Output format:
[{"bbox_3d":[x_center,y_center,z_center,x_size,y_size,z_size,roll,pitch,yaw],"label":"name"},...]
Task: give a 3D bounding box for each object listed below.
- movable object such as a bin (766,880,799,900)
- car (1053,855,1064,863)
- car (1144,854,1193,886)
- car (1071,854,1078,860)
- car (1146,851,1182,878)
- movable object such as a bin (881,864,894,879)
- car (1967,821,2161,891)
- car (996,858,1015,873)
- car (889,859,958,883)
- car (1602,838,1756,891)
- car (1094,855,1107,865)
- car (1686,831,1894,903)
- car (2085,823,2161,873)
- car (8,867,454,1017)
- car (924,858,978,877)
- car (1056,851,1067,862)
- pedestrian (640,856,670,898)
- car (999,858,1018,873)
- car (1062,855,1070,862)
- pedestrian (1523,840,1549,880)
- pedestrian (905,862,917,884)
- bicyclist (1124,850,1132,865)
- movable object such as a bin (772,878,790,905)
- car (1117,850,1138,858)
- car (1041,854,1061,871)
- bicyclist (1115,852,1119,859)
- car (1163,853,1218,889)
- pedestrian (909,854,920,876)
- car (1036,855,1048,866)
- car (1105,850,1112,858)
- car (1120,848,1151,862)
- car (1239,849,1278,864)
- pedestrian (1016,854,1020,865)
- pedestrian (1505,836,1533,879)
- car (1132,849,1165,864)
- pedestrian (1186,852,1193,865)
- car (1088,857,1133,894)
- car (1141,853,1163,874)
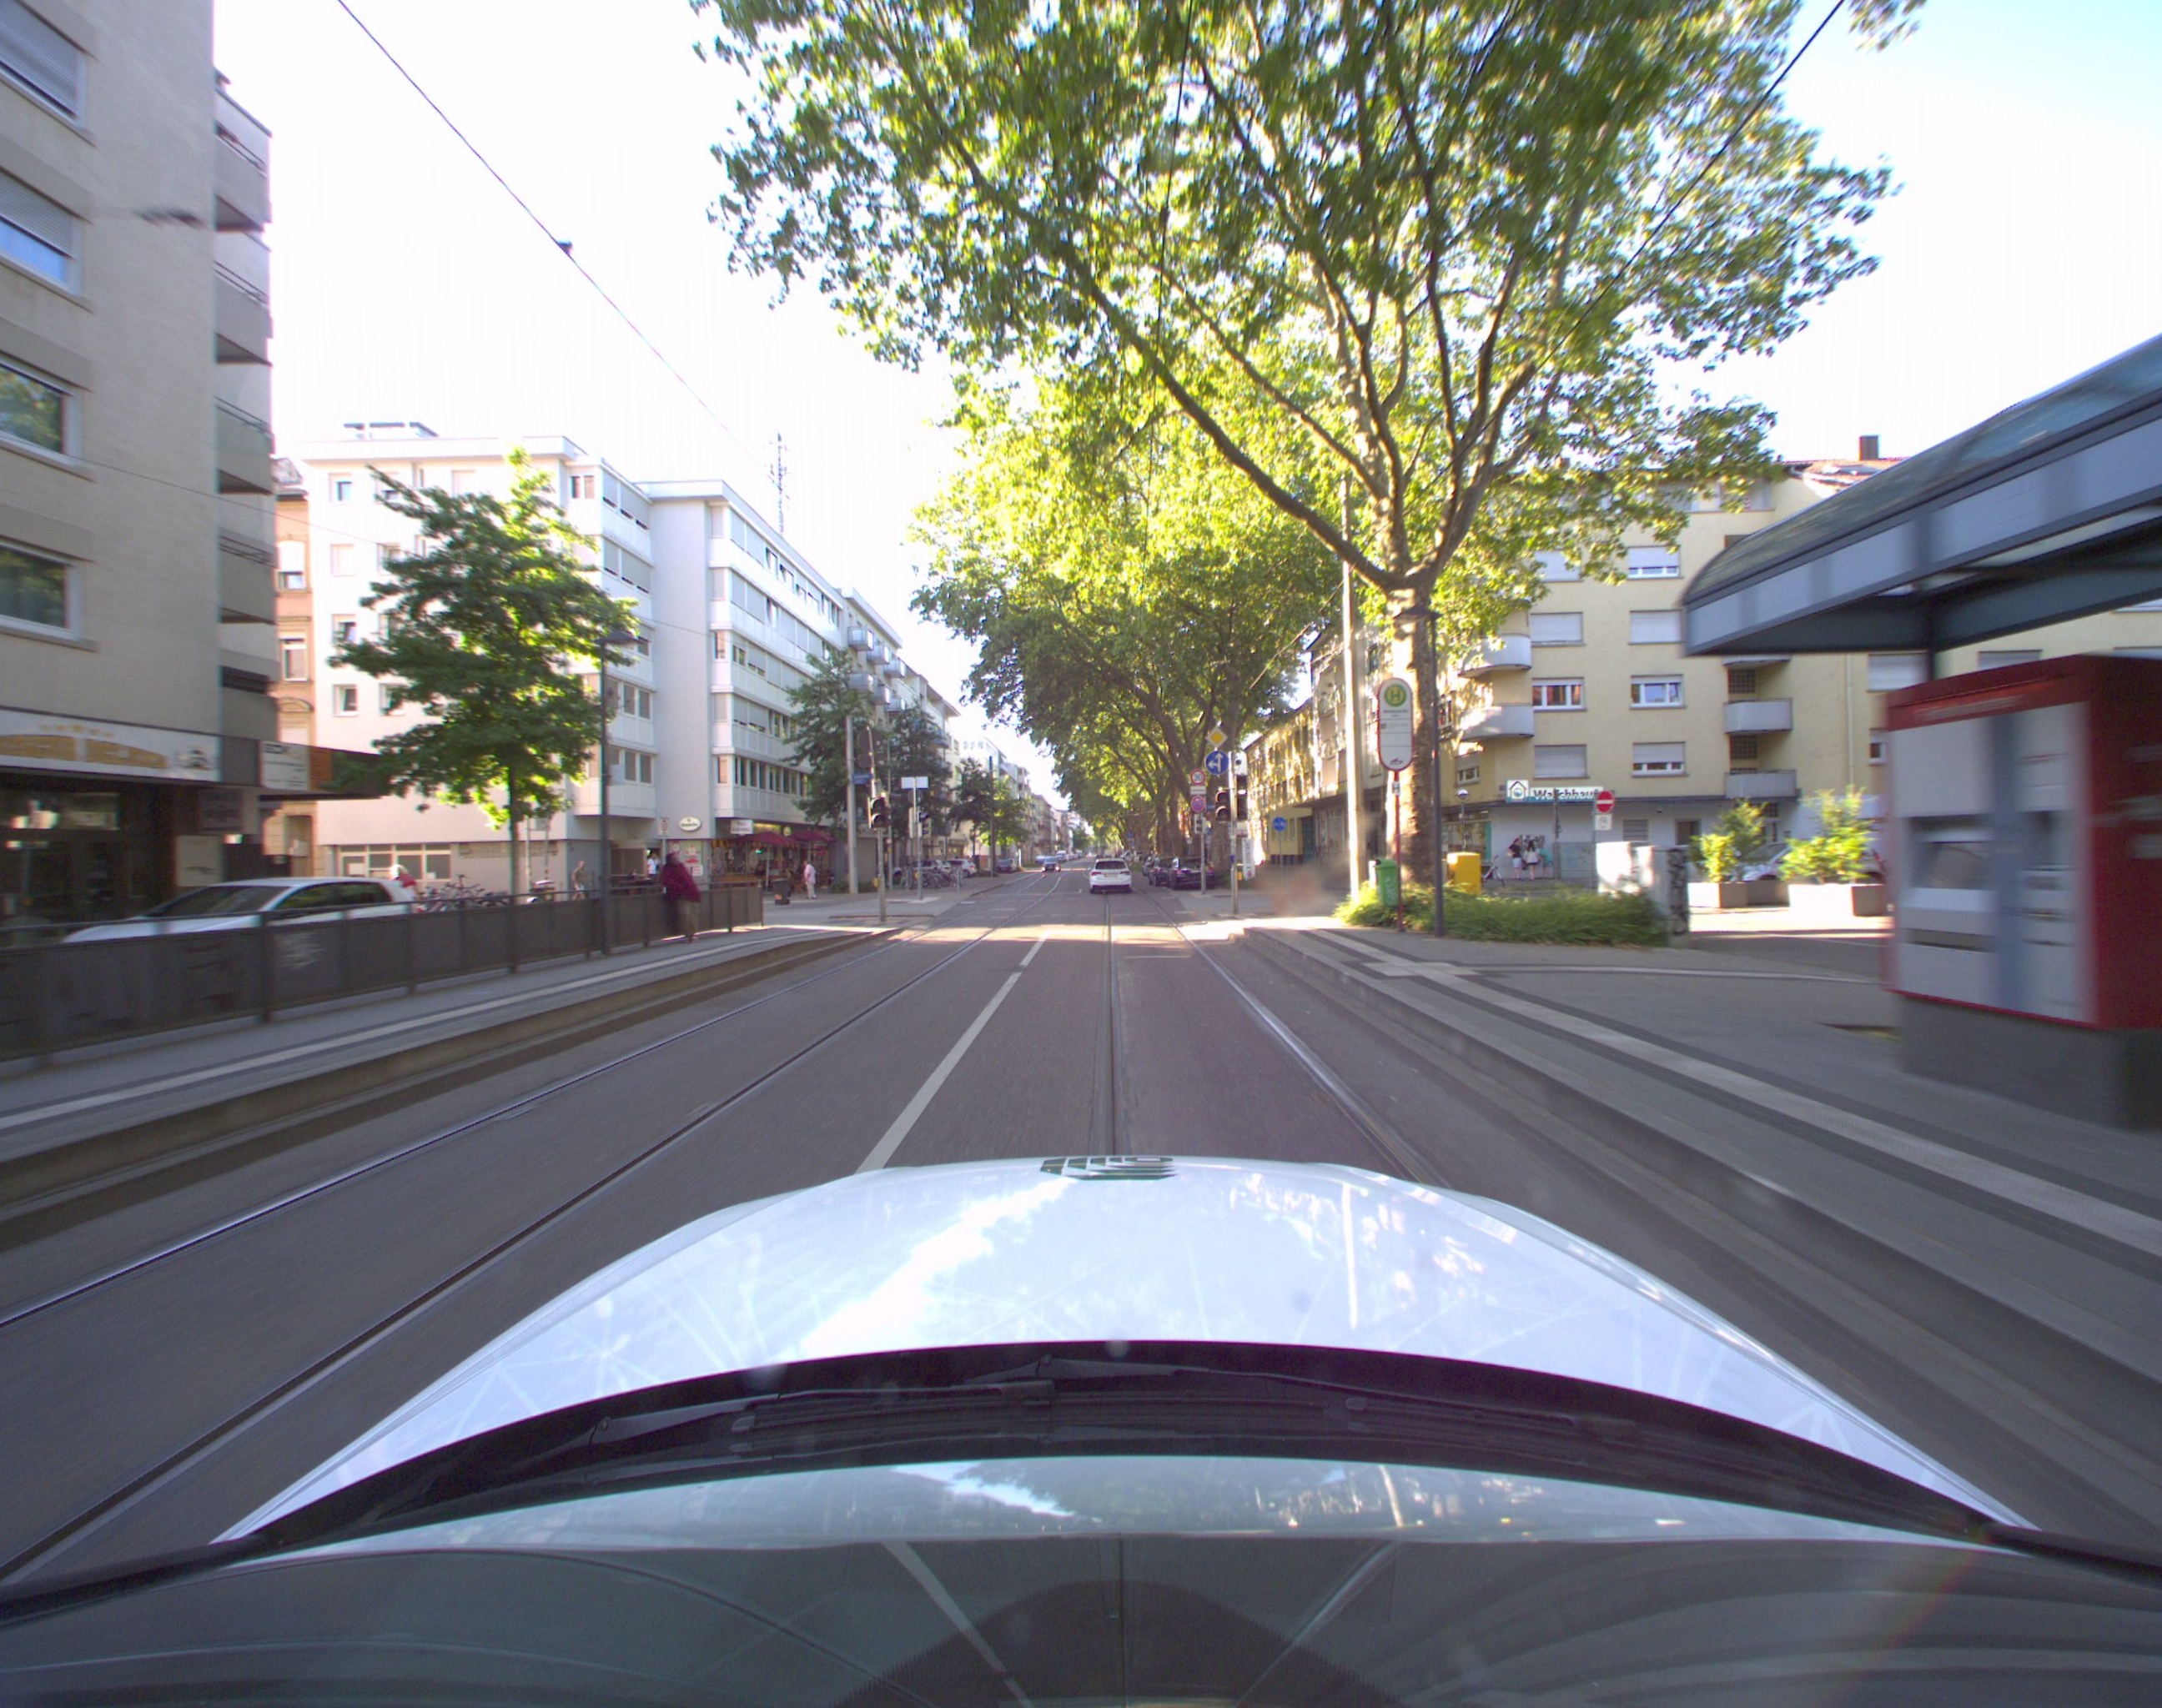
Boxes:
[{"bbox_3d":[-11.784,1.423,32.190,1.197,0.757,0.661,0,-1,-20],"label":"movable object such as a bin"},{"bbox_3d":[-4.784,1.073,174.767,1.986,1.530,4.002,-1,0,2],"label":"car"},{"bbox_3d":[4.376,0.776,41.211,1.859,1.437,4.223,-2,0,-2],"label":"car"},{"bbox_3d":[-1.984,0.903,242.804,1.986,1.640,4.001,0,-1,2],"label":"car"},{"bbox_3d":[5.360,0.674,53.059,1.852,1.603,4.781,-3,-1,0],"label":"car"},{"bbox_3d":[-13.559,1.210,57.072,0.675,1.055,0.622,-2,0,3],"label":"movable object such as a bin"},{"bbox_3d":[26.490,0.031,21.624,3.847,1.693,1.866,-2,0,1],"label":"car"},{"bbox_3d":[-7.476,1.129,80.621,1.710,1.464,3.992,2,0,-5],"label":"car"},{"bbox_3d":[-10.113,1.080,52.481,3.997,1.475,1.852,0,-1,2],"label":"car"},{"bbox_3d":[20.062,0.315,27.450,3.847,1.552,1.867,-2,2,1],"label":"car"},{"bbox_3d":[2.977,0.919,123.550,1.755,1.475,4.002,-2,0,2],"label":"car"},{"bbox_3d":[18.666,0.330,21.585,3.847,1.693,1.866,-2,0,1],"label":"car"},{"bbox_3d":[36.767,-0.247,27.322,3.847,1.552,1.867,-2,2,1],"label":"car"},{"bbox_3d":[-11.891,1.091,11.961,1.871,1.651,4.358,-2,0,1],"label":"car"},{"bbox_3d":[-10.225,1.047,64.202,4.001,1.475,1.851,0,-1,-1],"label":"car"},{"bbox_3d":[-4.367,0.590,186.493,2.170,2.597,4.951,-1,0,2],"label":"car"},{"bbox_3d":[-17.604,0.942,33.647,0.741,1.659,0.772,-2,0,16],"label":"pedestrian"},{"bbox_3d":[-7.541,1.164,85.410,1.709,1.464,4.373,2,0,-2],"label":"car"},{"bbox_3d":[-3.784,1.143,206.818,1.986,1.530,4.002,-1,0,2],"label":"car"},{"bbox_3d":[17.580,0.230,31.490,0.694,1.539,0.695,-2,0,42],"label":"pedestrian"},{"bbox_3d":[-10.285,1.124,49.237,0.713,1.297,0.744,-2,0,-13],"label":"pedestrian"},{"bbox_3d":[4.618,0.366,80.402,0.676,1.443,1.048,-2,0,2],"label":"bicyclist"},{"bbox_3d":[-10.777,1.333,29.246,0.539,0.932,0.647,-2,0,-15],"label":"movable object such as a bin"},{"bbox_3d":[13.866,-0.033,243.416,6.111,2.282,2.529,-1,0,-1],"label":"car"},{"bbox_3d":[-3.022,0.818,82.073,1.865,1.590,4.146,1,0,0],"label":"car"},{"bbox_3d":[6.194,0.259,140.674,0.647,1.344,0.934,-2,0,0],"label":"bicyclist"},{"bbox_3d":[4.756,0.703,36.137,1.759,1.462,5.011,-2,0,0],"label":"car"},{"bbox_3d":[-13.264,0.879,64.991,0.661,1.691,0.749,-1,0,0],"label":"pedestrian"},{"bbox_3d":[-6.225,1.037,129.967,1.697,1.650,4.241,1,0,0],"label":"car"},{"bbox_3d":[8.893,-0.072,262.938,2.194,2.388,4.002,-1,0,2],"label":"car"},{"bbox_3d":[10.958,0.136,164.584,6.111,2.635,2.529,-1,0,-1],"label":"car"},{"bbox_3d":[20.854,0.318,95.816,4.123,1.593,1.997,-1,0,-4],"label":"car"},{"bbox_3d":[-10.471,0.986,135.432,0.661,1.826,0.965,-1,0,0],"label":"pedestrian"},{"bbox_3d":[17.524,0.153,32.597,0.704,1.682,0.656,-2,0,-26],"label":"pedestrian"},{"bbox_3d":[9.672,0.335,117.590,4.530,2.076,2.000,-2,0,-1],"label":"car"},{"bbox_3d":[15.710,0.596,117.689,0.764,1.866,1.187,-2,0,-2],"label":"pedestrian"},{"bbox_3d":[1.193,0.846,34.205,1.756,1.384,4.000,-2,0,0],"label":"car"},{"bbox_3d":[5.481,0.771,63.054,1.557,1.519,2.913,-3,-1,4],"label":"car"}]
